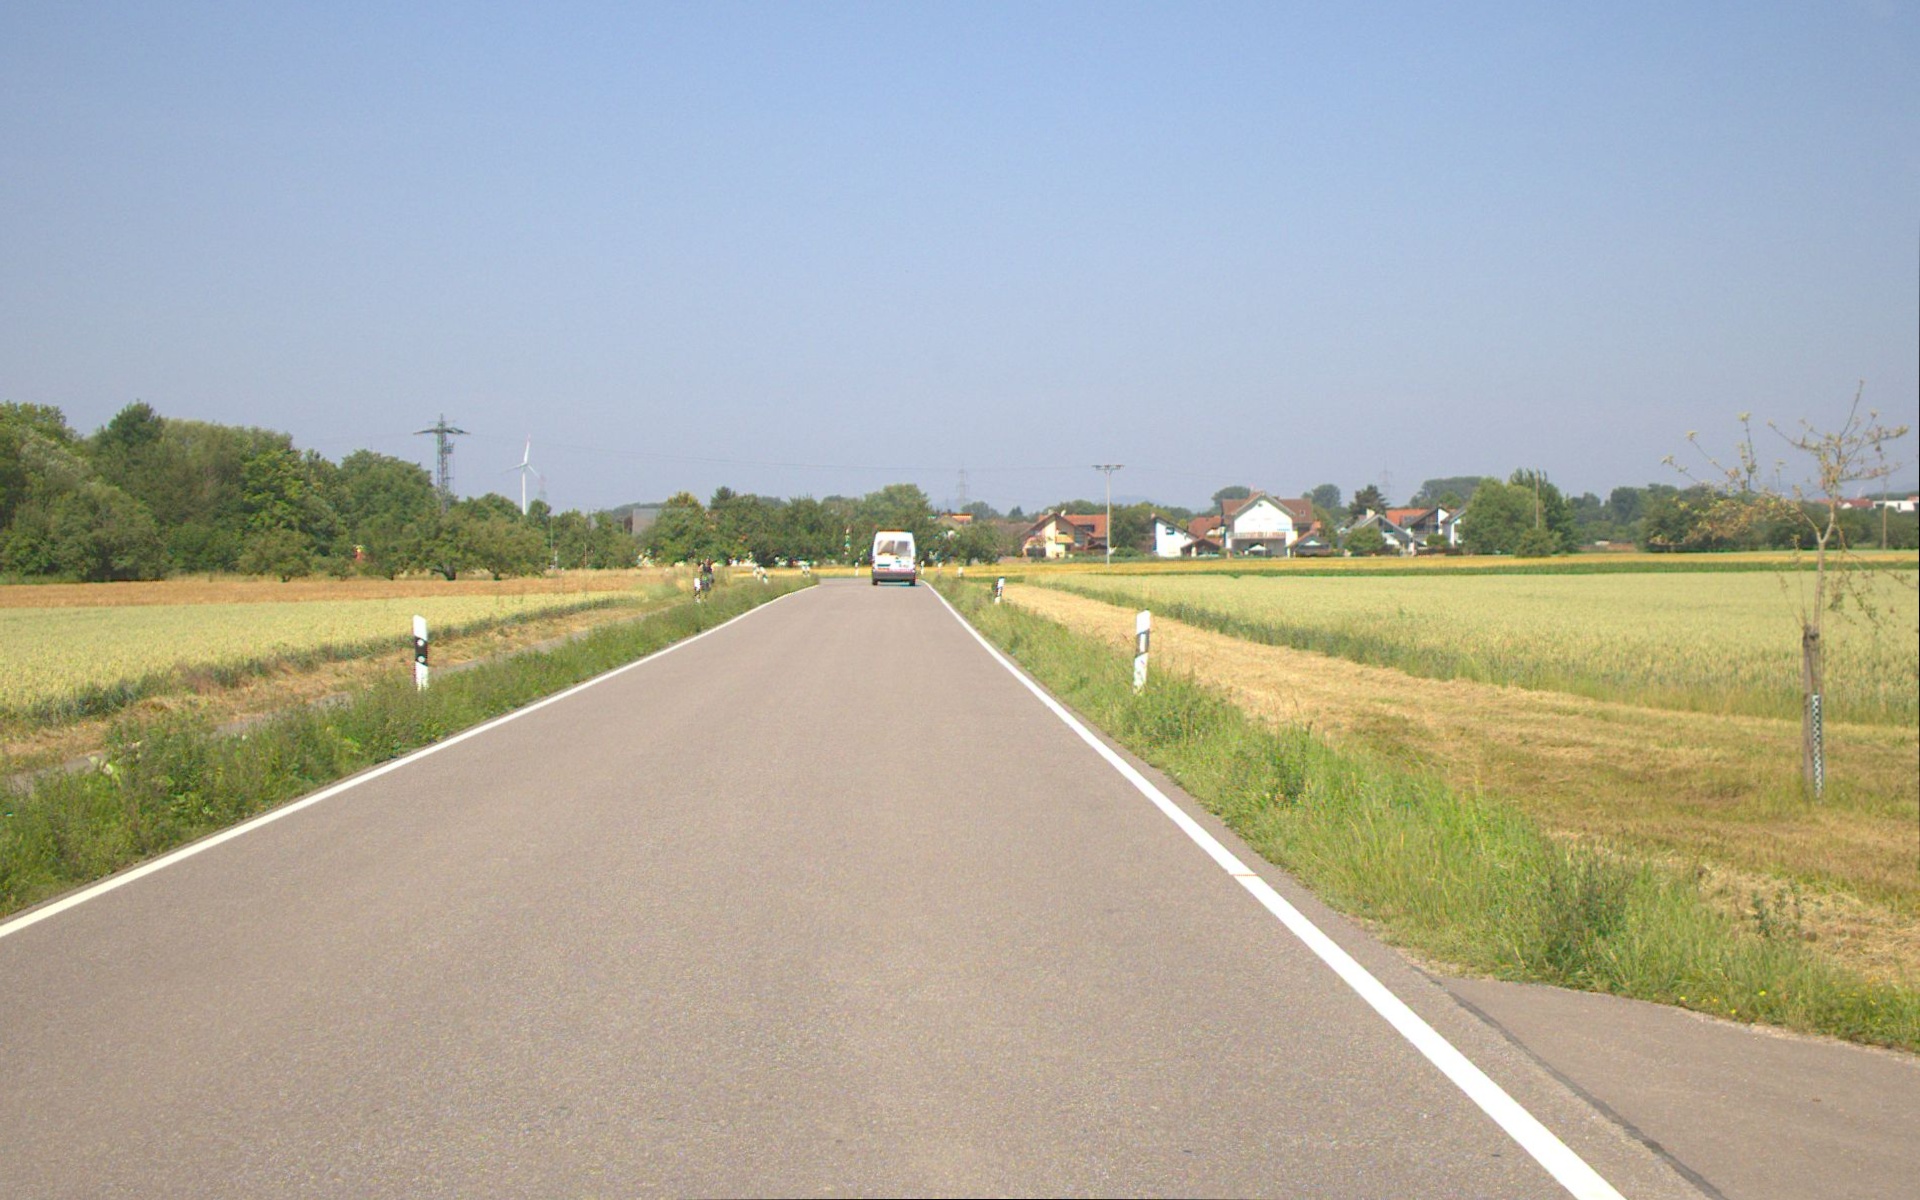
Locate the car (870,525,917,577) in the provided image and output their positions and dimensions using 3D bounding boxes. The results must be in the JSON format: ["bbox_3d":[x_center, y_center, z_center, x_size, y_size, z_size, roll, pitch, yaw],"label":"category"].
[{"bbox_3d":[-3.101,-2.270,159.793,2.107,2.296,5.496,2,1,-1],"label":"car"}]

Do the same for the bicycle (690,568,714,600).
[{"bbox_3d":[-10.233,-0.628,136.550,0.759,1.231,2.394,-2,1,-1],"label":"bicycle"}]

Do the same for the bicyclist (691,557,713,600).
[{"bbox_3d":[-10.228,-0.846,136.538,0.760,1.667,1.088,-2,1,-1],"label":"bicyclist"}]
